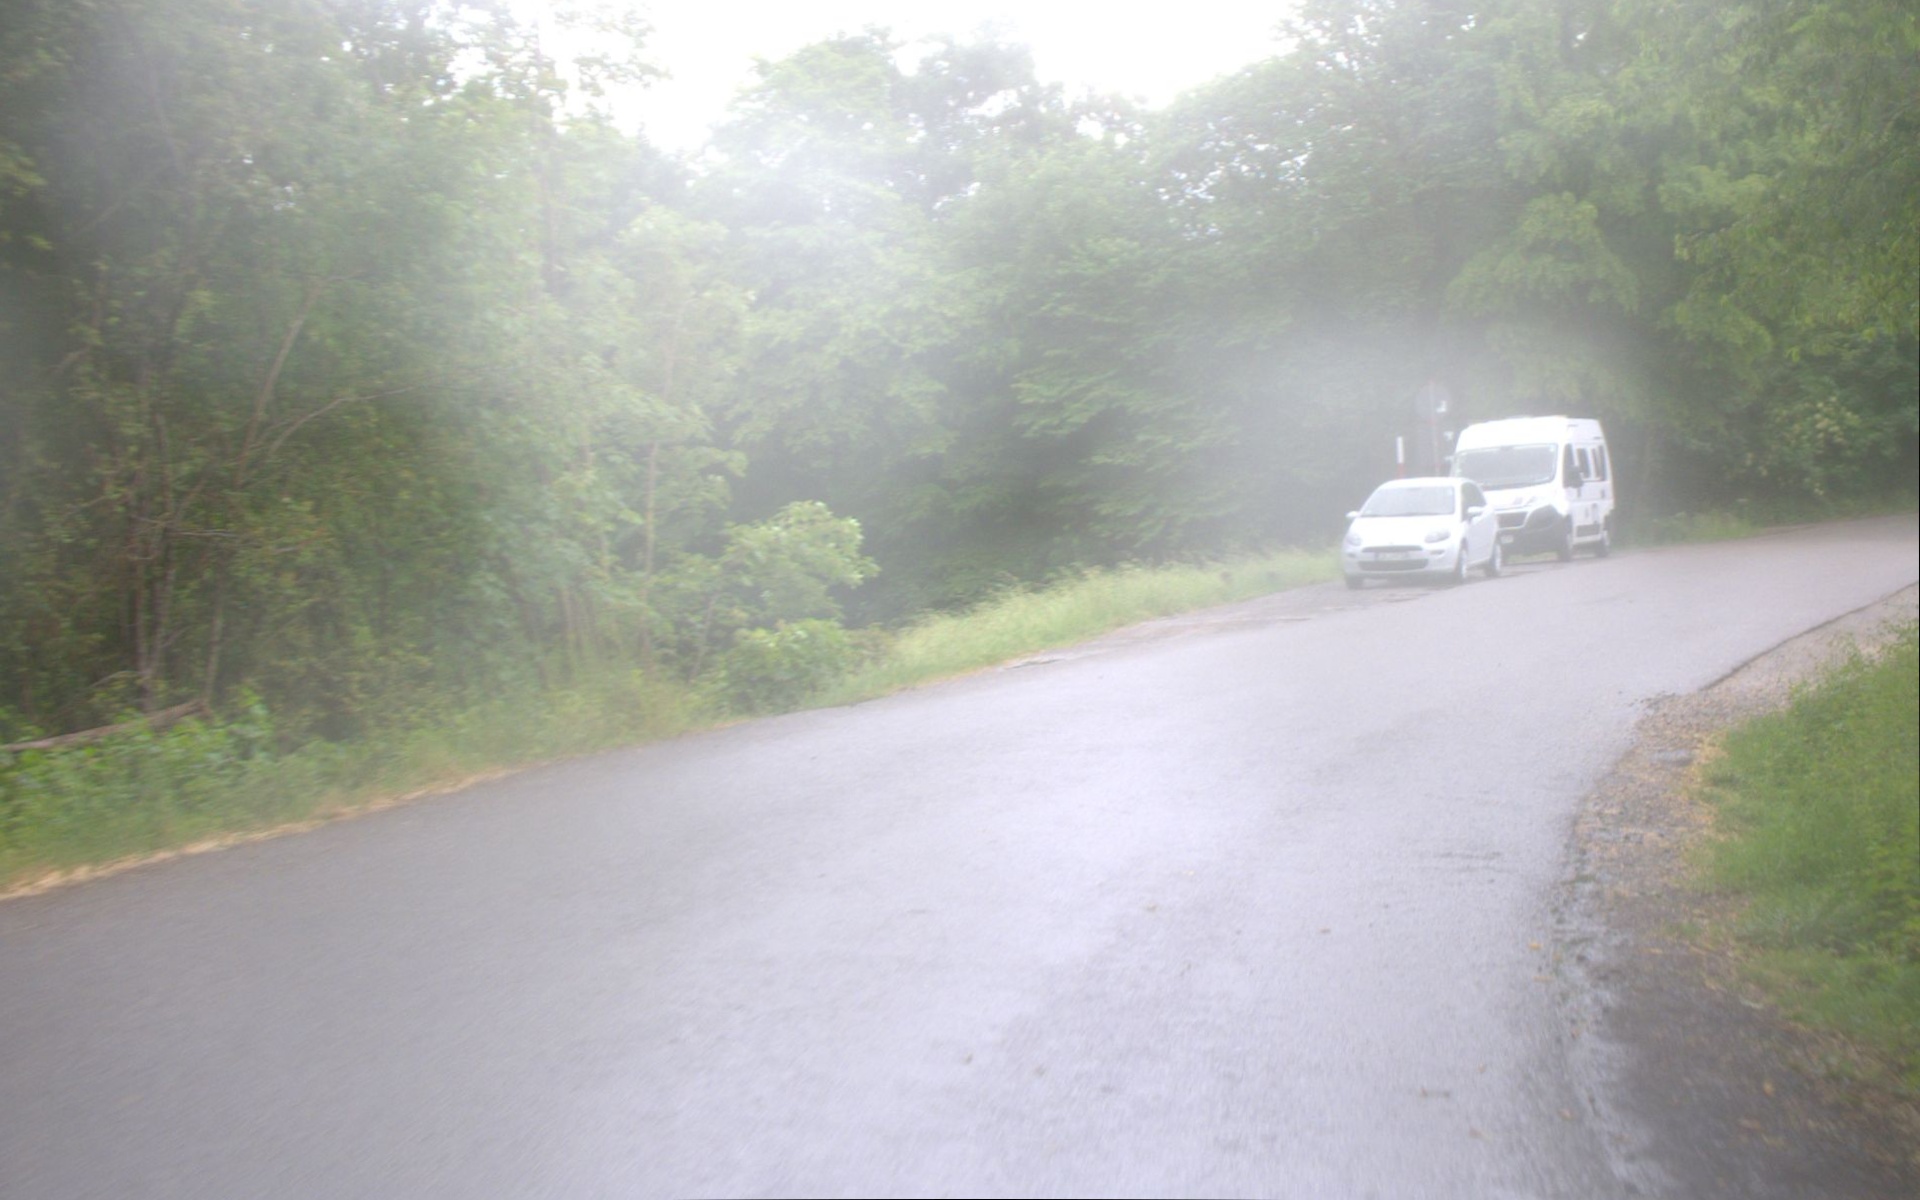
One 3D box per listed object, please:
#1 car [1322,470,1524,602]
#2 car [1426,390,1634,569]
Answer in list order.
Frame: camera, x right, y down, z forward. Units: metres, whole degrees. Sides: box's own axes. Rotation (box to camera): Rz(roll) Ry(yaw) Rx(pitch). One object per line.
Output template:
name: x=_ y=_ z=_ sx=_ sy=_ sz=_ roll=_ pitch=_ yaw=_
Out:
car: x=6.663 y=-0.950 z=49.067 sx=1.863 sy=1.590 sz=4.491 roll=-3 pitch=3 yaw=20
car: x=9.766 y=-2.111 z=58.445 sx=2.275 sy=2.687 sz=6.044 roll=-4 pitch=2 yaw=20
